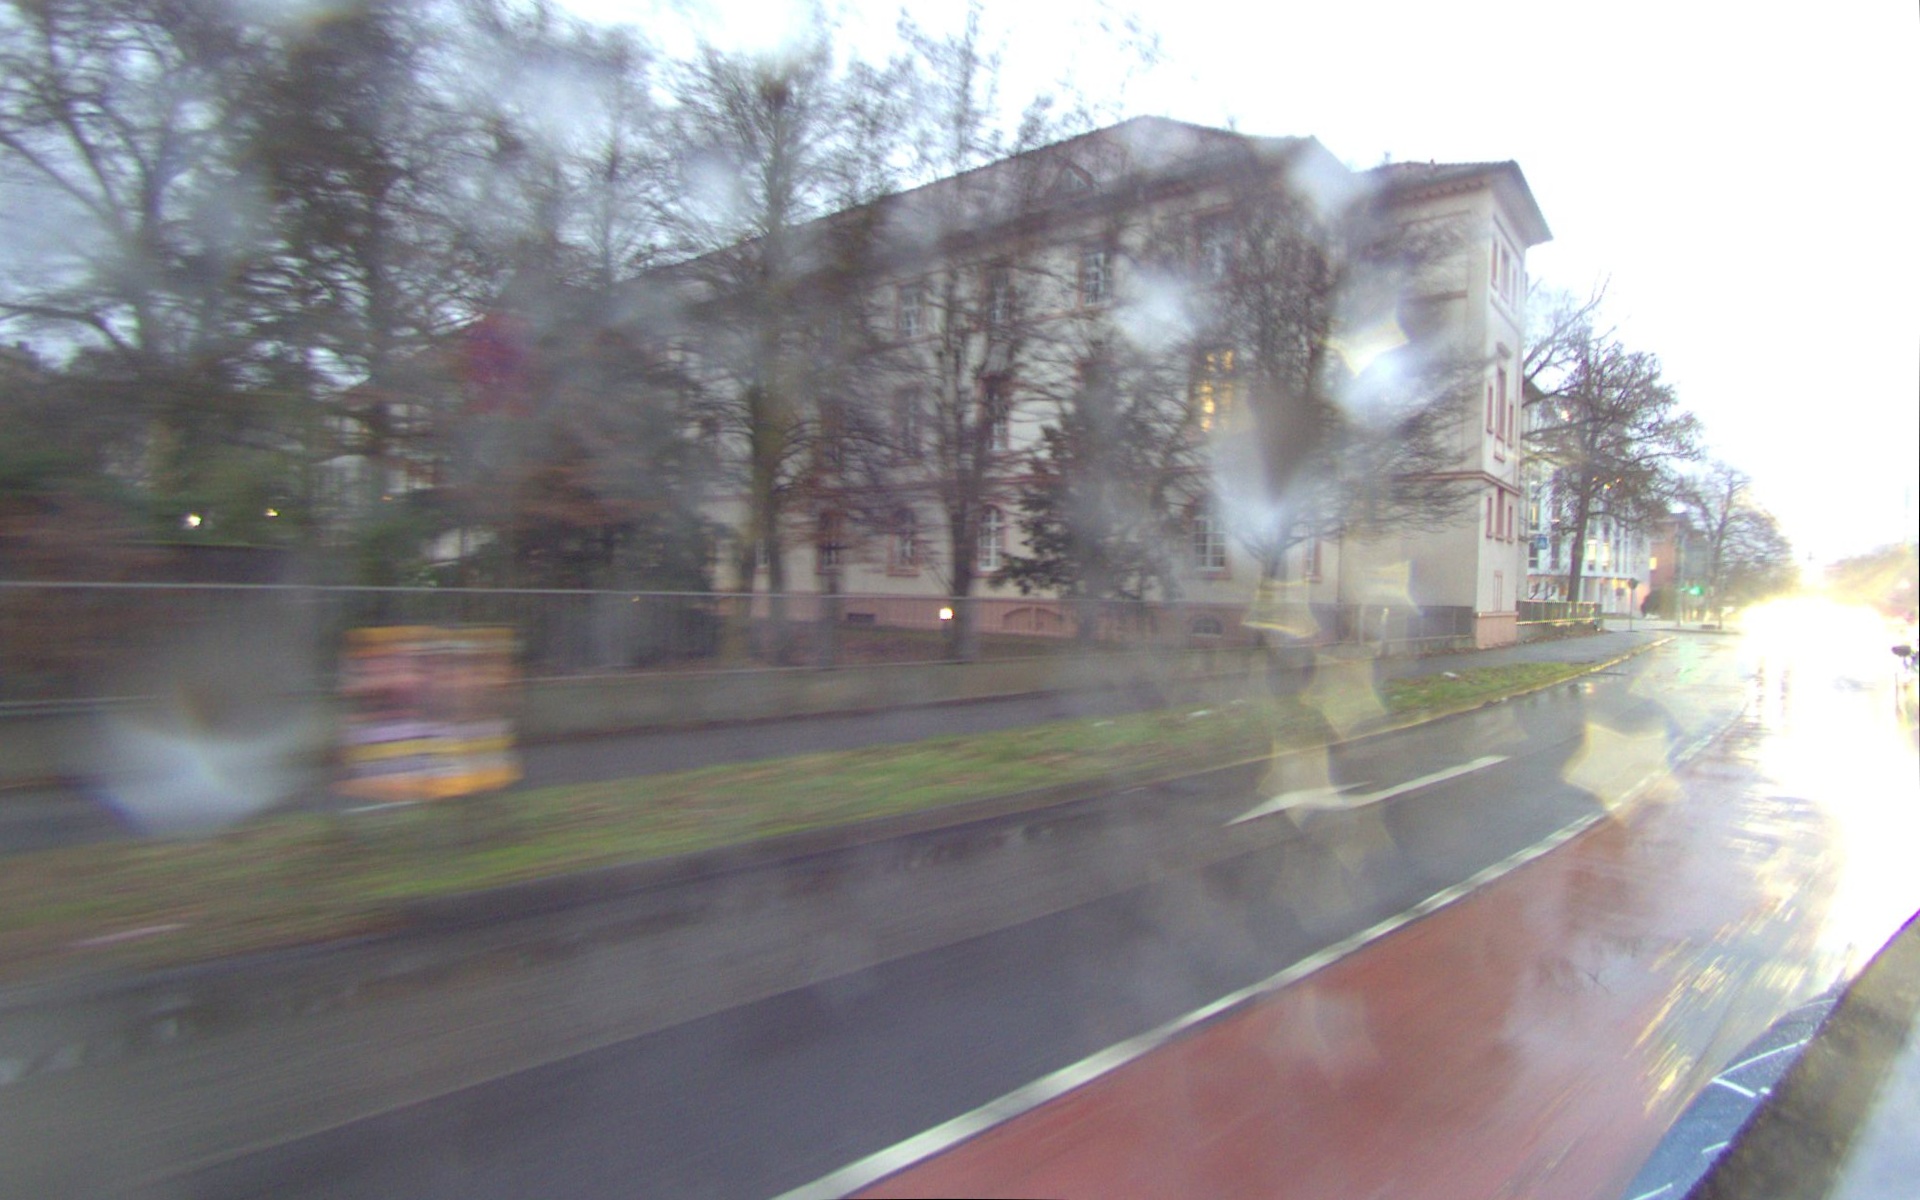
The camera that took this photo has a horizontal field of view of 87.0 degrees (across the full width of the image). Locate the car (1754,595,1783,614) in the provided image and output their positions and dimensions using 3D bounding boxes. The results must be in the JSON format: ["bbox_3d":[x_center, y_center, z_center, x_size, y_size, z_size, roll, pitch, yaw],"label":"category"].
[{"bbox_3d":[73.362,0.394,91.844,1.990,1.717,3.944,1,0,38],"label":"car"}]

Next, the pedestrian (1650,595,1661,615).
[{"bbox_3d":[55.395,0.394,80.571,0.650,1.609,0.556,0,-1,30],"label":"pedestrian"}]

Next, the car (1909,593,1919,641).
[{"bbox_3d":[36.503,0.669,37.269,1.811,1.764,4.129,2,1,37],"label":"car"}]

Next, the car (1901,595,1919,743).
[{"bbox_3d":[12.188,0.744,11.801,1.644,1.604,3.748,0,0,41],"label":"car"}]

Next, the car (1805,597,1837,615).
[{"bbox_3d":[75.965,0.517,89.339,1.990,1.554,3.944,1,0,38],"label":"car"}]

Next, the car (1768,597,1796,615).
[{"bbox_3d":[78.190,0.564,96.349,1.990,1.725,3.944,1,0,38],"label":"car"}]

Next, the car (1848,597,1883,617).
[{"bbox_3d":[77.932,0.610,87.157,1.990,1.629,3.944,1,0,38],"label":"car"}]

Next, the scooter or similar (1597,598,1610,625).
[{"bbox_3d":[29.461,0.537,46.338,0.438,1.219,1.070,0,0,30],"label":"scooter or similar"}]

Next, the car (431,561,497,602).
[{"bbox_3d":[-24.583,-0.887,50.085,1.832,1.943,4.089,0,0,-43],"label":"car"}]
